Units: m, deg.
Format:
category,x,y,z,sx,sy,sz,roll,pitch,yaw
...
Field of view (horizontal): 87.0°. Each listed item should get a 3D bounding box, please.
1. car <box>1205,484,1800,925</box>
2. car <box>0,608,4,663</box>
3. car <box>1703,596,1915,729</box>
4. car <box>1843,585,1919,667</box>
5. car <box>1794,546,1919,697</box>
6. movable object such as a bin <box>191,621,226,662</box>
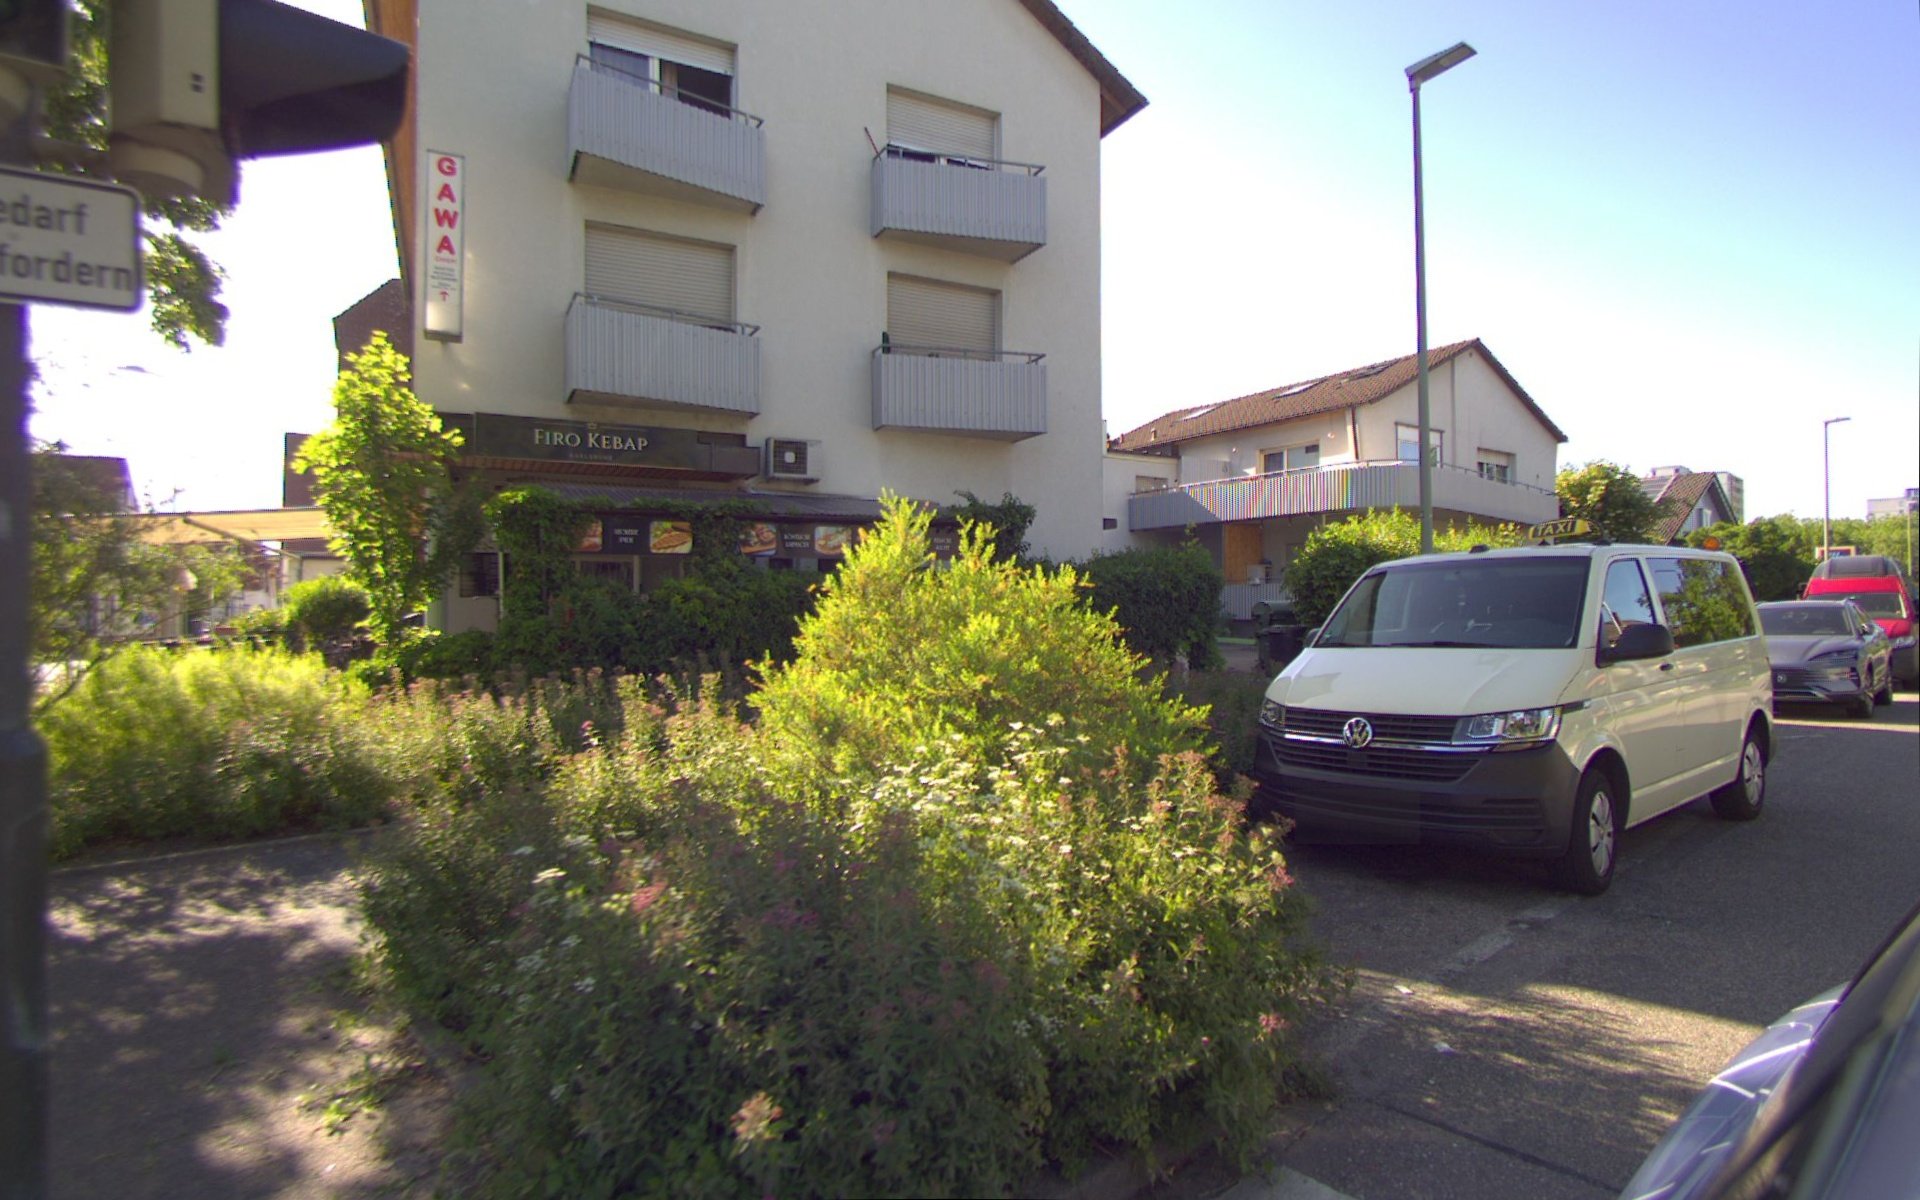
category,x,y,z,sx,sy,sz,roll,pitch,yaw
car,3.941,0.493,7.026,4.495,2.105,1.998,0,-1,-39
car,-29.967,1.023,28.878,3.631,1.646,1.415,2,0,-32
car,13.223,0.859,15.661,4.499,1.760,1.959,0,-2,-43
car,23.430,0.629,25.035,4.483,1.872,1.858,1,-3,-43
car,18.301,0.408,20.248,1.957,2.678,5.138,-2,-2,45
movable object such as a bin,-19.482,1.073,26.256,0.644,1.005,0.709,-2,1,-33
